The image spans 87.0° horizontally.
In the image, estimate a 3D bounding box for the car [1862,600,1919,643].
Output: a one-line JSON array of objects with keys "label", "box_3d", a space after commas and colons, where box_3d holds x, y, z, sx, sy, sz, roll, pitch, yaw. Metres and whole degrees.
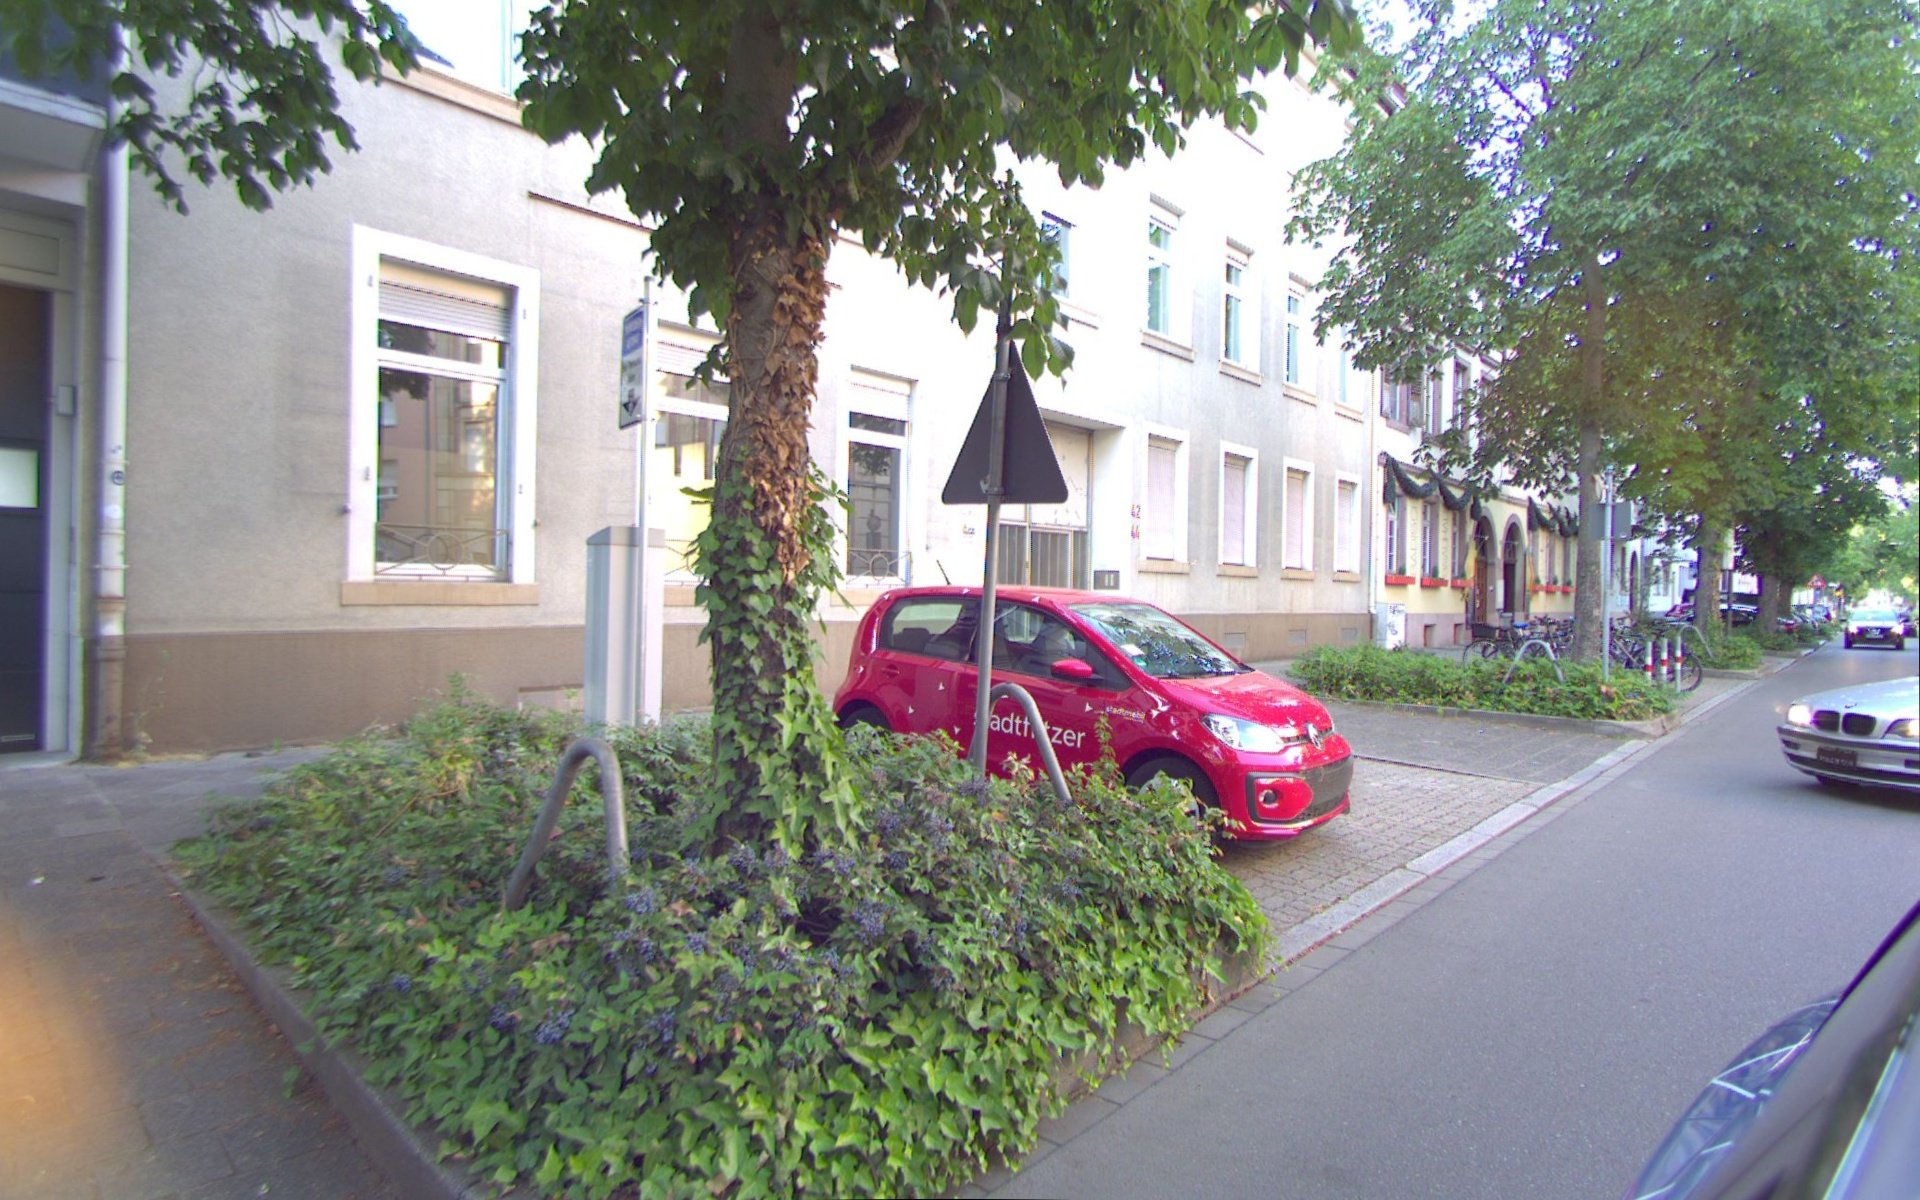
[{"label": "car", "box_3d": [36.733, 0.809, 39.721, 1.802, 1.571, 3.935, 2, 1, 45]}]

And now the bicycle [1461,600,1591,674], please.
[{"label": "bicycle", "box_3d": [10.294, 0.646, 18.434, 2.014, 1.242, 0.529, 2, 1, 33]}]

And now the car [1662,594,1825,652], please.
[{"label": "car", "box_3d": [26.608, 0.726, 34.454, 4.232, 1.761, 1.715, 2, 1, 43]}]

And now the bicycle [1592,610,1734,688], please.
[{"label": "bicycle", "box_3d": [12.349, 0.829, 17.821, 2.019, 1.242, 0.528, 2, 1, 39]}]

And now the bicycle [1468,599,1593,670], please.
[{"label": "bicycle", "box_3d": [10.925, 0.633, 19.428, 2.017, 1.242, 0.529, 2, 1, 37]}]

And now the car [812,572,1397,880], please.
[{"label": "car", "box_3d": [0.796, 0.585, 6.809, 3.608, 1.495, 1.639, 2, 1, 42]}]

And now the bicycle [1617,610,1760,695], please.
[{"label": "bicycle", "box_3d": [11.847, 0.827, 16.535, 1.835, 1.242, 0.529, 2, 1, 33]}]

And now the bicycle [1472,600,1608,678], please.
[{"label": "bicycle", "box_3d": [10.078, 0.654, 17.624, 2.014, 1.242, 0.529, 2, 1, 33]}]

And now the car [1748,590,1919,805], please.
[{"label": "car", "box_3d": [8.744, 0.688, 7.515, 4.353, 1.460, 1.712, 1, 1, 2]}]

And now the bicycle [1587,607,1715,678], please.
[{"label": "bicycle", "box_3d": [13.465, 0.805, 19.768, 2.019, 1.242, 0.528, 2, 1, 39]}]

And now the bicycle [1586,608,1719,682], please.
[{"label": "bicycle", "box_3d": [12.985, 0.814, 19.015, 2.019, 1.242, 0.528, 2, 1, 39]}]
